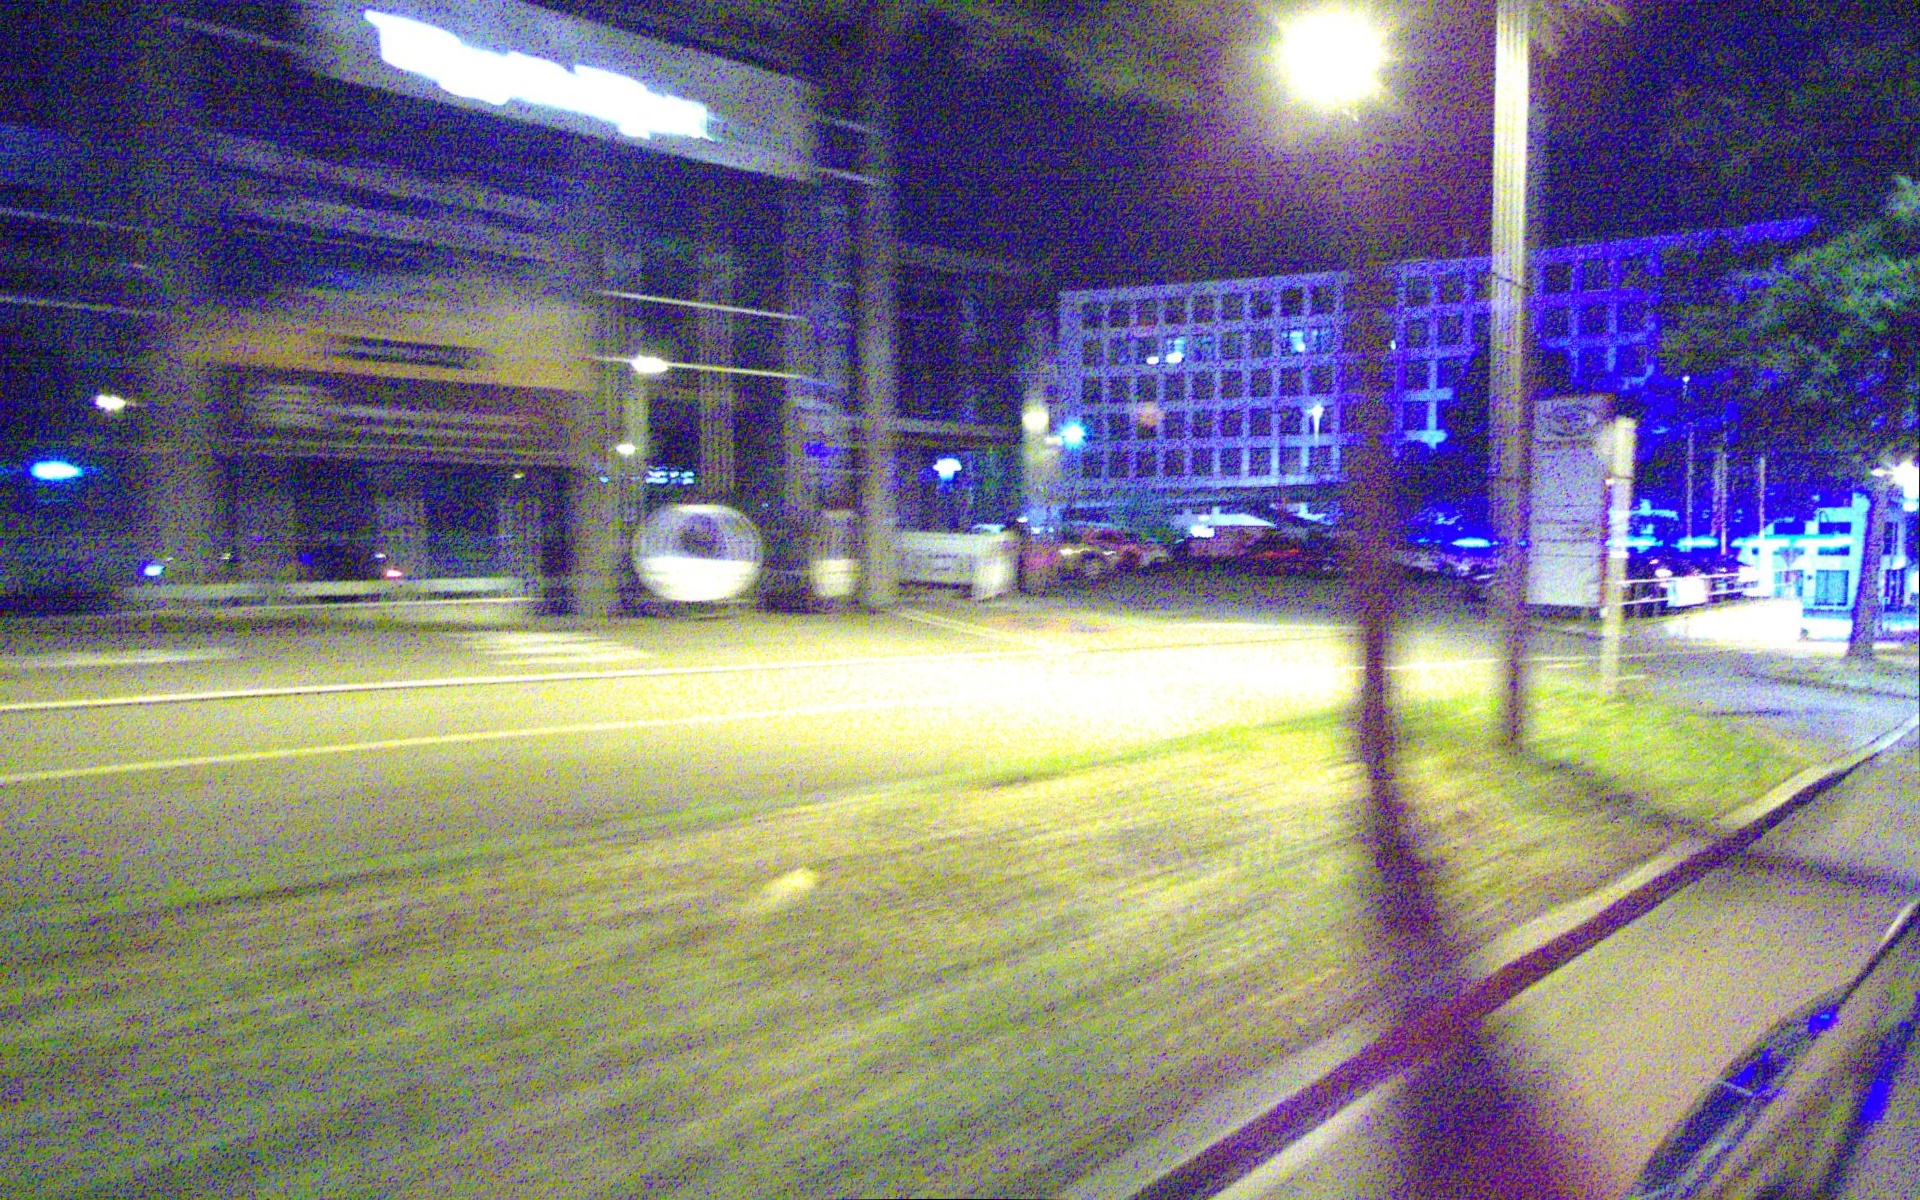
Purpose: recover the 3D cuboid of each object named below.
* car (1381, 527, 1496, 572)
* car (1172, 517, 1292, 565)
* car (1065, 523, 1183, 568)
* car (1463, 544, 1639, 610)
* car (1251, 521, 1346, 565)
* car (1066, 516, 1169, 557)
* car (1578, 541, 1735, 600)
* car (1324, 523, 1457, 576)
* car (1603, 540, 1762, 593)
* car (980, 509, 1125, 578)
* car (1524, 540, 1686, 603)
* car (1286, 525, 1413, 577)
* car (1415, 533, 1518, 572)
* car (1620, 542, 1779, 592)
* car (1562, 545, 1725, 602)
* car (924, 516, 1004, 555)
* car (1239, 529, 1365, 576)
[{"bbox_3d":[20.268,-2.178,42.999,1.803,1.751,4.002,-2,6,-36],"label":"car"},{"bbox_3d":[11.567,-2.548,43.252,1.967,1.933,4.584,-2,5,-42],"label":"car"},{"bbox_3d":[5.962,-2.033,37.127,1.836,1.507,3.994,-2,5,-42],"label":"car"},{"bbox_3d":[16.004,-0.670,27.634,3.795,1.507,1.731,3,6,20],"label":"car"},{"bbox_3d":[15.878,-2.703,47.553,1.723,1.917,3.816,-2,5,-43],"label":"car"},{"bbox_3d":[8.187,-3.298,52.620,5.157,1.994,2.184,2,3,11],"label":"car"},{"bbox_3d":[22.220,-1.014,32.379,1.750,1.605,3.756,-3,7,-41],"label":"car"},{"bbox_3d":[16.487,-1.988,38.979,1.719,1.745,4.376,-2,7,-37],"label":"car"},{"bbox_3d":[24.219,-1.178,34.050,1.707,1.589,3.999,-2,5,-38],"label":"car"},{"bbox_3d":[2.486,-1.563,27.524,3.718,1.544,1.735,4,5,5],"label":"car"},{"bbox_3d":[18.474,-0.864,29.071,1.698,1.588,3.566,-2,6,-44],"label":"car"},{"bbox_3d":[14.465,-1.864,37.774,1.787,1.709,3.999,-2,6,-39],"label":"car"},{"bbox_3d":[22.132,-2.110,44.309,1.607,1.487,3.656,-2,7,-36],"label":"car"},{"bbox_3d":[25.854,-1.208,35.496,1.790,1.540,4.132,-3,5,-38],"label":"car"},{"bbox_3d":[20.632,-0.867,30.657,1.712,1.506,3.732,-3,6,-41],"label":"car"},{"bbox_3d":[0.127,-2.969,46.178,1.771,1.585,4.005,-2,6,-33],"label":"car"},{"bbox_3d":[12.256,-1.746,36.401,1.740,1.449,3.876,-3,6,-45],"label":"car"}]
